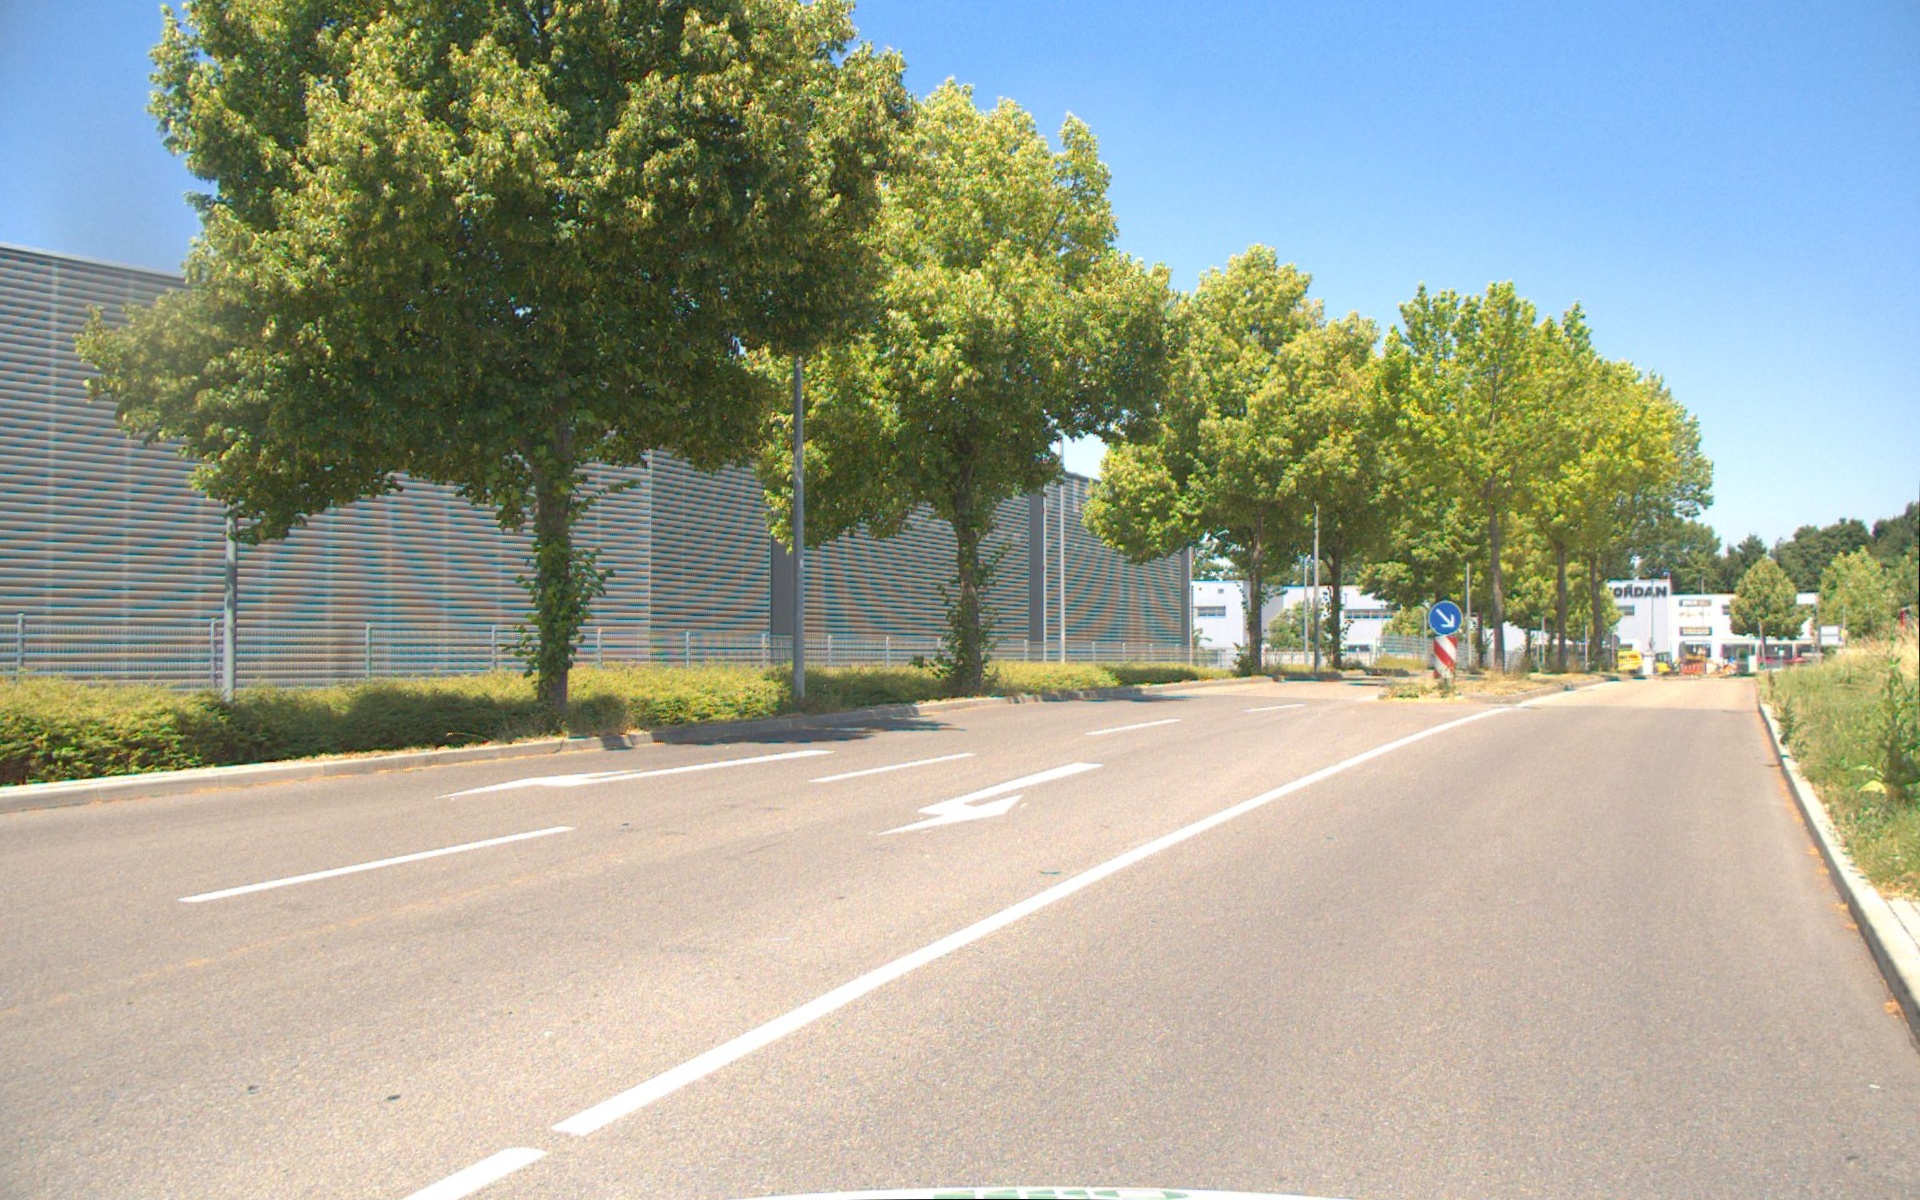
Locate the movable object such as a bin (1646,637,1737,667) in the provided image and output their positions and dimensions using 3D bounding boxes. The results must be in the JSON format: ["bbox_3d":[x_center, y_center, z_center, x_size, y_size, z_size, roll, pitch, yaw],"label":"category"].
[{"bbox_3d":[69.863,4.971,158.056,7.394,2.543,3.655,-3,0,34],"label":"movable object such as a bin"}]

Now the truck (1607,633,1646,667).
[{"bbox_3d":[64.536,4.839,160.296,2.876,2.936,5.813,-3,0,17],"label":"truck"}]
